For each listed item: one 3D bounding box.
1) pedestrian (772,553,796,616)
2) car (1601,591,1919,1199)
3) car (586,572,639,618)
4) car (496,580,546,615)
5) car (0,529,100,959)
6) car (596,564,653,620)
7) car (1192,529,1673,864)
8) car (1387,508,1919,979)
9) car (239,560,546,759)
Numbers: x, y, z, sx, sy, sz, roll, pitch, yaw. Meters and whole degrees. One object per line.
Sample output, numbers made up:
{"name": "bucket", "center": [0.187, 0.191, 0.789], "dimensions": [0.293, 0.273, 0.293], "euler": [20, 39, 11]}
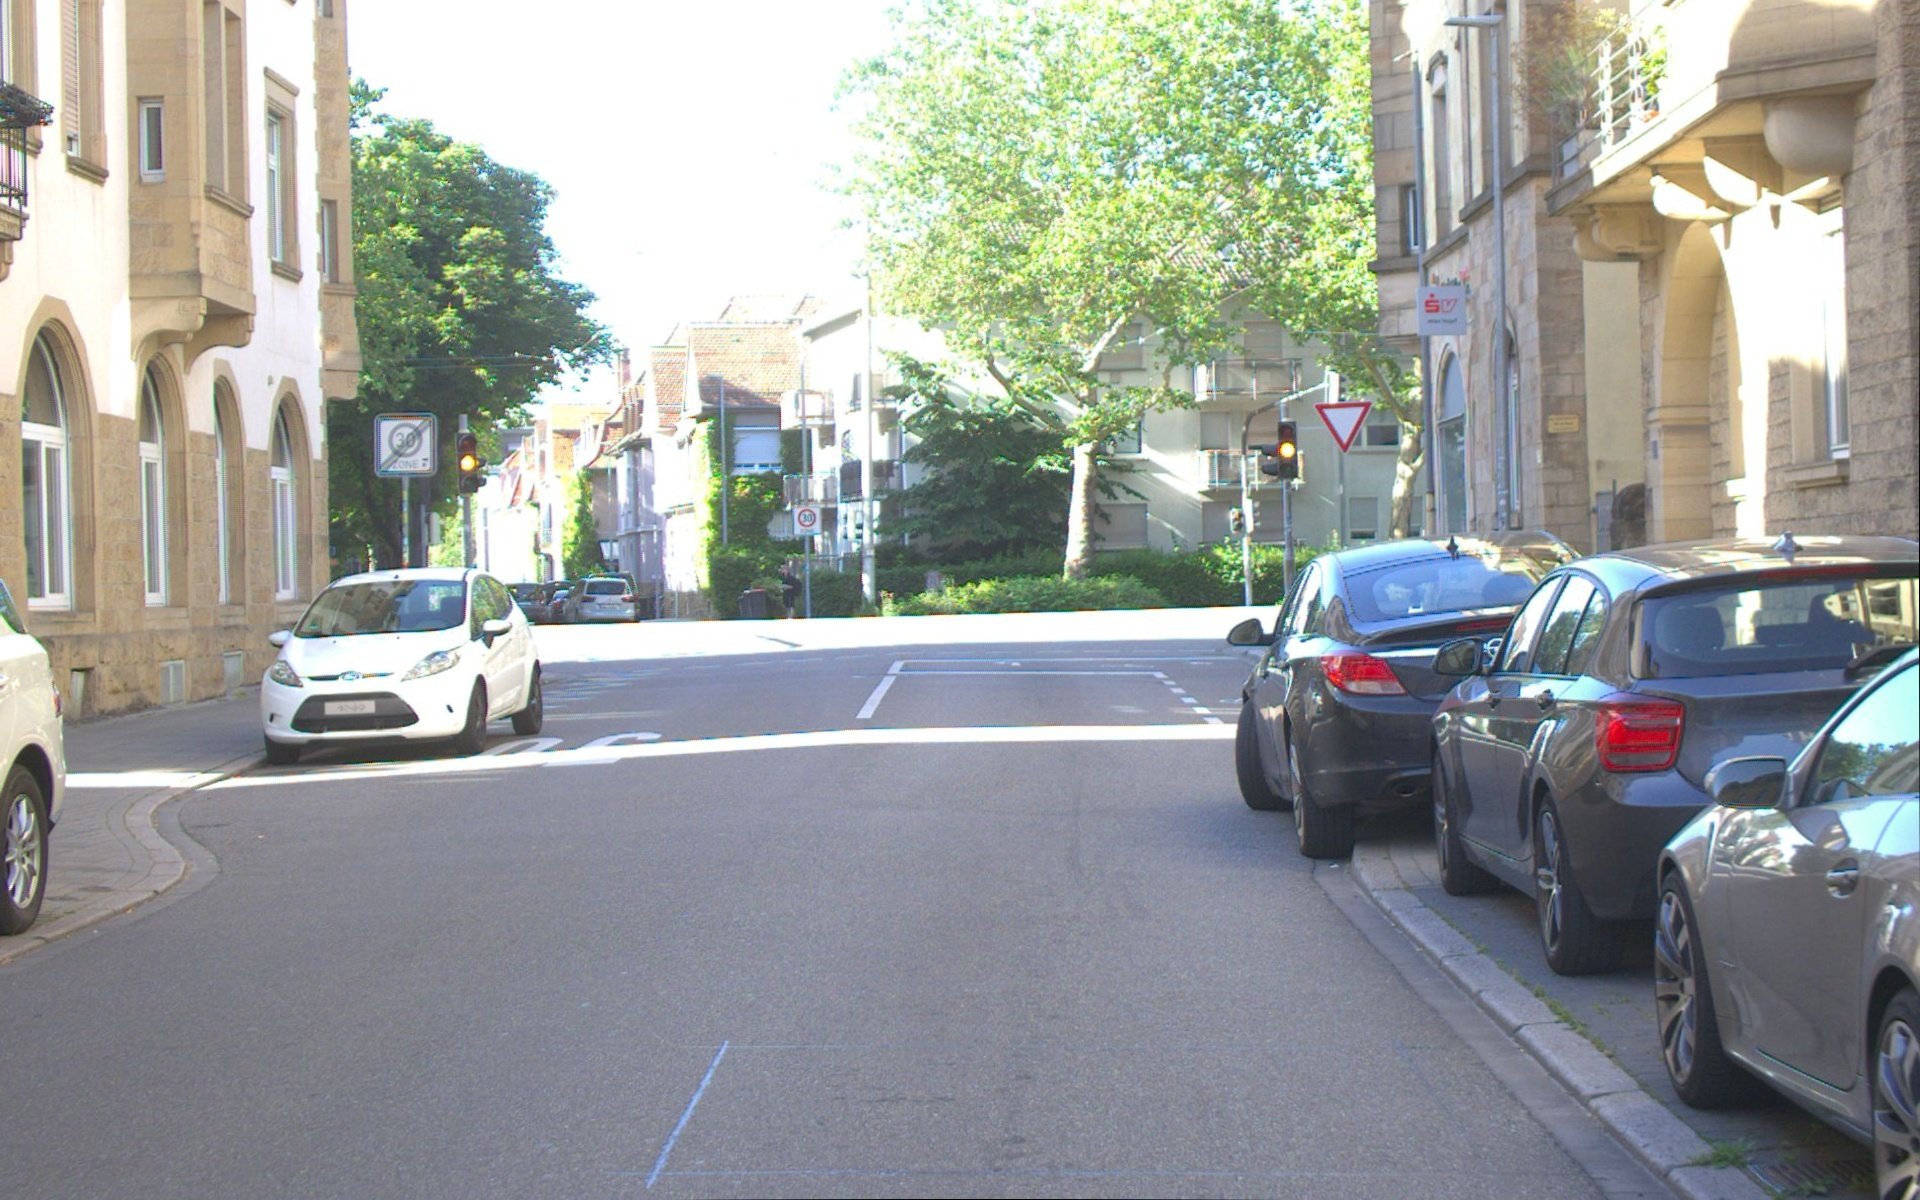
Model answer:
{"name": "pedestrian", "center": [-4.929, -0.440, 96.150], "dimensions": [0.633, 1.744, 0.659], "euler": [0, 0, -2]}
{"name": "car", "center": [2.597, 0.638, 7.645], "dimensions": [1.693, 1.250, 3.941], "euler": [-2, 1, 2]}
{"name": "car", "center": [-11.352, -0.157, 112.455], "dimensions": [1.673, 1.477, 3.522], "euler": [0, 0, -6]}
{"name": "car", "center": [-17.840, -0.097, 139.682], "dimensions": [1.737, 1.332, 3.835], "euler": [-2, 1, -11]}
{"name": "car", "center": [-4.800, 0.554, 12.646], "dimensions": [1.892, 1.716, 4.726], "euler": [2, 0, 2]}
{"name": "car", "center": [-12.803, -0.323, 131.053], "dimensions": [1.993, 2.007, 4.001], "euler": [-2, 1, -7]}
{"name": "car", "center": [2.288, 0.399, 17.746], "dimensions": [1.865, 1.457, 4.339], "euler": [-2, 1, 0]}
{"name": "car", "center": [2.723, 0.407, 12.916], "dimensions": [1.651, 1.437, 4.259], "euler": [-2, 1, 0]}
{"name": "car", "center": [-4.501, 0.425, 27.772], "dimensions": [1.634, 1.459, 3.734], "euler": [-1, 1, 3]}
